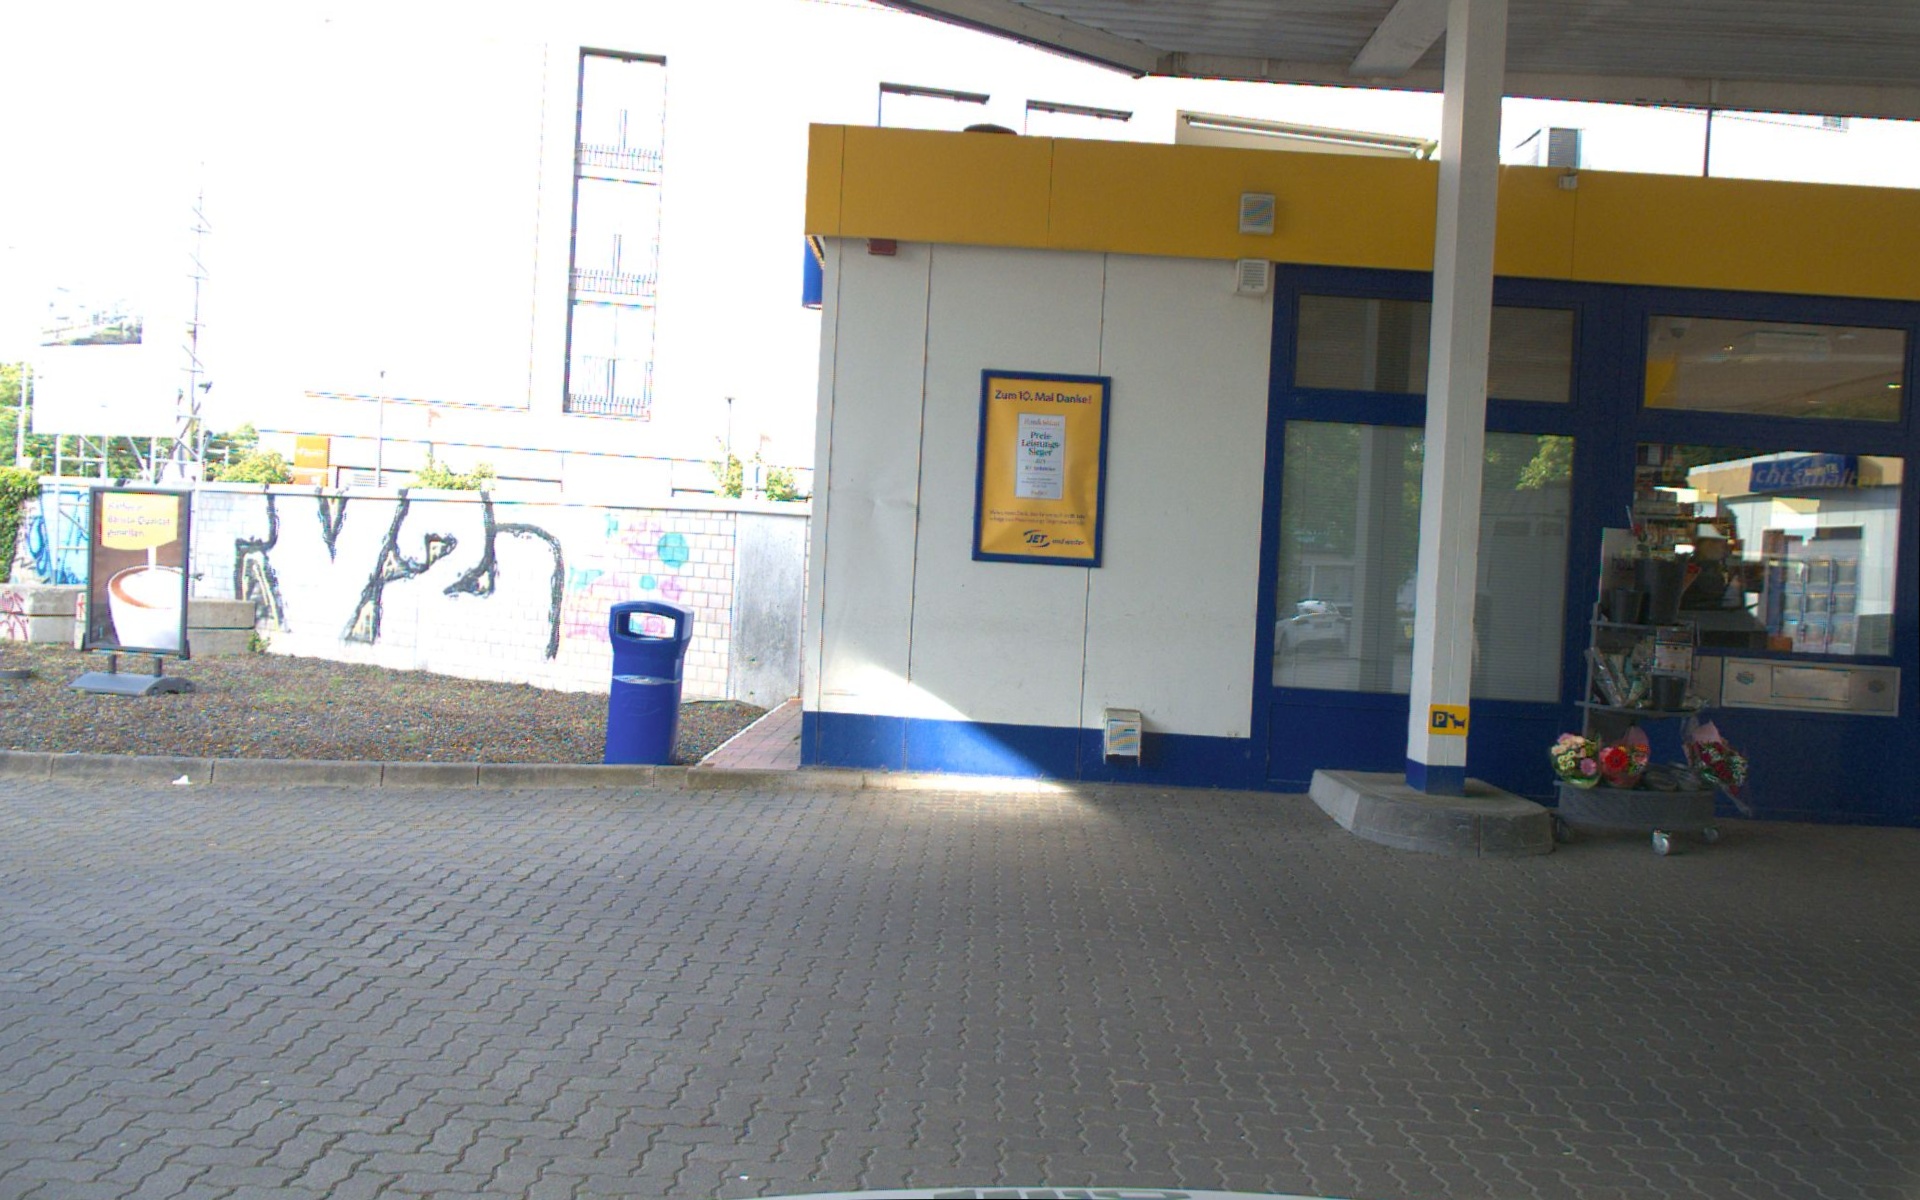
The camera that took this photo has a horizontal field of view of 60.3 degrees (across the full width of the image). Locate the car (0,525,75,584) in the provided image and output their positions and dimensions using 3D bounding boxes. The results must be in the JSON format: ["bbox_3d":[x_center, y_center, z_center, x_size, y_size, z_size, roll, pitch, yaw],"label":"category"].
[{"bbox_3d":[-25.187,-1.260,44.508,1.641,1.424,3.693,4,1,-17],"label":"car"}]
